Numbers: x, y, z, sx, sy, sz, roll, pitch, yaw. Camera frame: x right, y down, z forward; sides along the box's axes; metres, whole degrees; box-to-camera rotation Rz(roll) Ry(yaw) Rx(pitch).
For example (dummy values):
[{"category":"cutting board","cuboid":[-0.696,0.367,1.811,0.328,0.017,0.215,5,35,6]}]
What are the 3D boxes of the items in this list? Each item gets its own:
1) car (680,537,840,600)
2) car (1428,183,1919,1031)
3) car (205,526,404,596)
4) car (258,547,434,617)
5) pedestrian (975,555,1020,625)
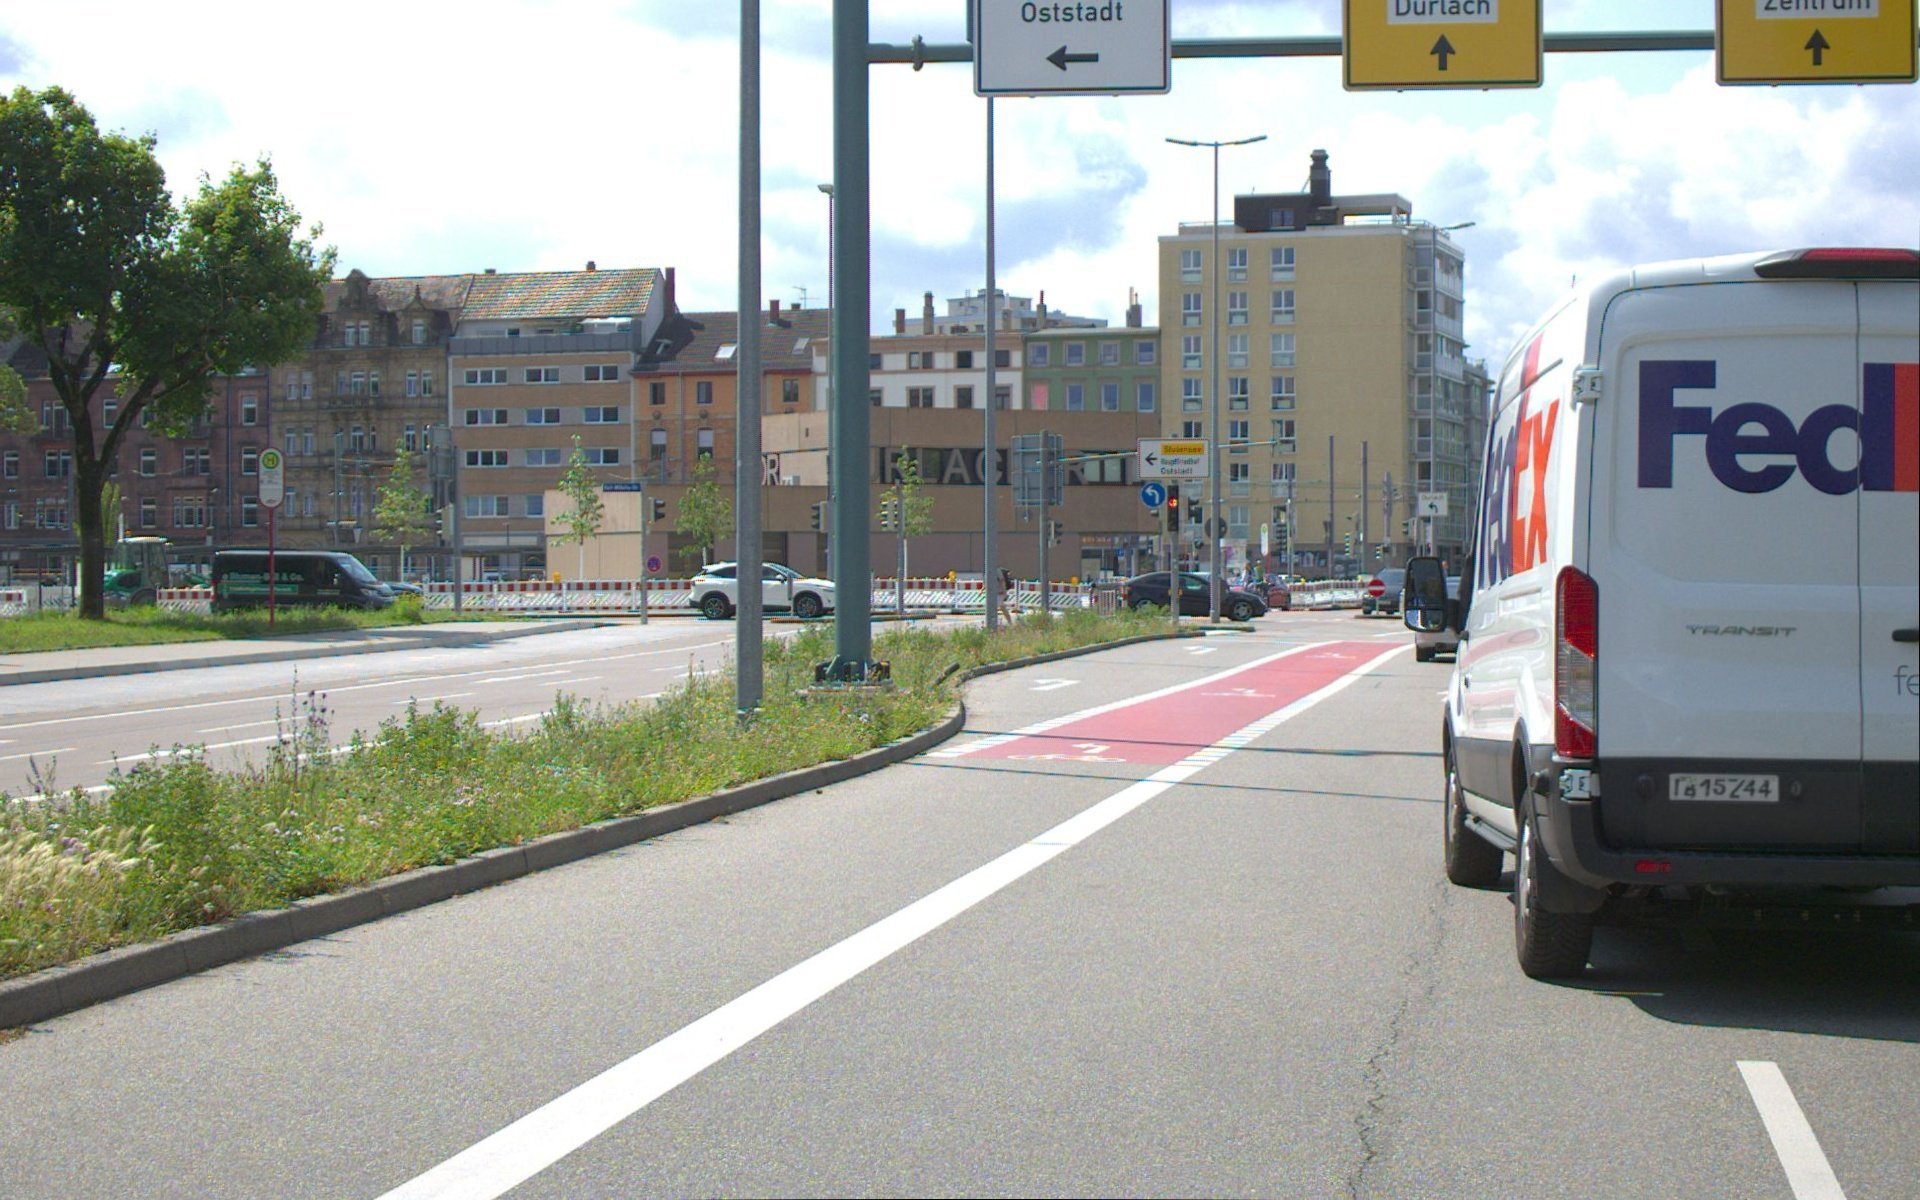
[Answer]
[{"category":"car","cuboid":[-5.694,-0.889,98.220,4.357,1.787,2.000,0,0,4]},{"category":"car","cuboid":[3.096,-0.024,13.562,2.141,2.643,5.703,0,1,4]},{"category":"car","cuboid":[-17.855,-1.069,93.774,5.009,1.872,1.928,0,1,5]},{"category":"car","cuboid":[-17.719,-0.511,99.303,4.629,2.007,2.099,0,0,4]},{"category":"pedestrian","cuboid":[0.848,-0.235,77.055,0.873,1.554,0.555,0,1,-19]}]
